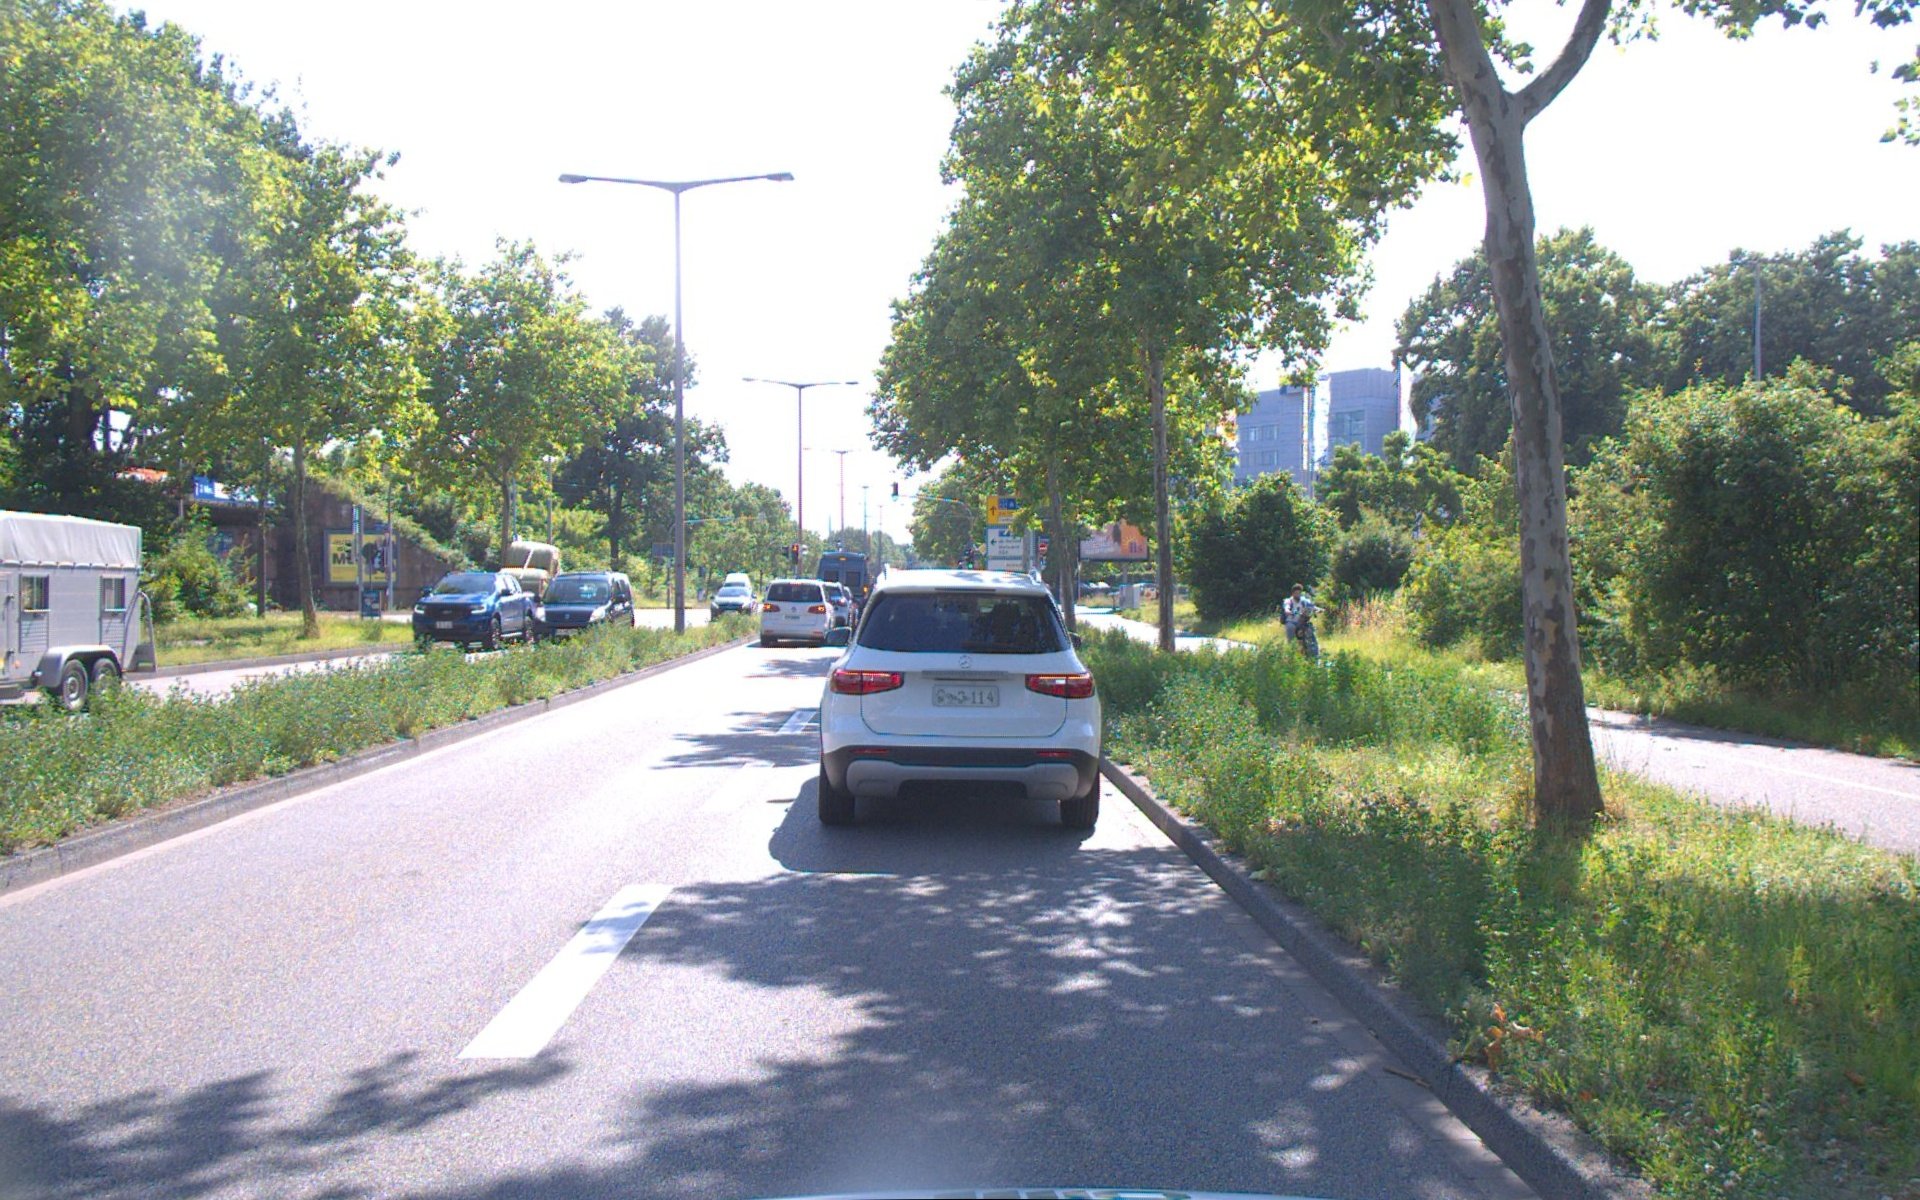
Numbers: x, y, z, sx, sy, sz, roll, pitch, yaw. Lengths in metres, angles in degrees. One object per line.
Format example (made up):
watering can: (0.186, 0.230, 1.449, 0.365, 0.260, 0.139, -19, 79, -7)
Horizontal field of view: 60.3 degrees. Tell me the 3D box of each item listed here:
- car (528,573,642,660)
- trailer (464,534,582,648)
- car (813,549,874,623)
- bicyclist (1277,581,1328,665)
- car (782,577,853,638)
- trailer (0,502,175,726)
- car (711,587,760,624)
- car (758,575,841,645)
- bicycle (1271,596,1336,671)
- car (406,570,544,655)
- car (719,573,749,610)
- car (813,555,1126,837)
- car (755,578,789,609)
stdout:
car: (-8.648, 0.354, 38.452, 1.696, 1.841, 4.231, 2, 0, -1)
trailer: (-11.505, -0.230, 43.883, 1.842, 2.791, 4.828, 2, 0, -1)
car: (-4.472, -0.524, 64.253, 2.039, 2.703, 4.873, 1, 0, -1)
bicyclist: (6.288, 0.417, 30.403, 0.690, 1.503, 1.009, 1, 0, -1)
car: (-4.100, 0.194, 48.182, 1.735, 1.676, 4.084, 1, 0, -1)
trailer: (-11.027, 0.133, 18.112, 2.262, 2.305, 5.537, 0, 0, -1)
car: (-9.459, 0.221, 69.943, 1.570, 1.497, 3.789, 1, 0, -1)
car: (-4.039, 0.240, 42.317, 1.735, 1.676, 4.351, 1, 0, -1)
bicycle: (6.269, 0.586, 30.267, 0.708, 1.321, 2.095, 1, 0, -1)
car: (-11.454, 0.266, 39.441, 1.728, 1.821, 5.375, 2, 0, -1)
car: (-15.919, -0.613, 116.552, 1.955, 2.460, 5.132, 1, 0, -7)
car: (-0.049, 0.557, 11.768, 1.817, 1.635, 3.997, 1, 0, -3)
car: (-12.112, -0.425, 106.619, 1.954, 1.914, 3.997, 2, 0, -4)
